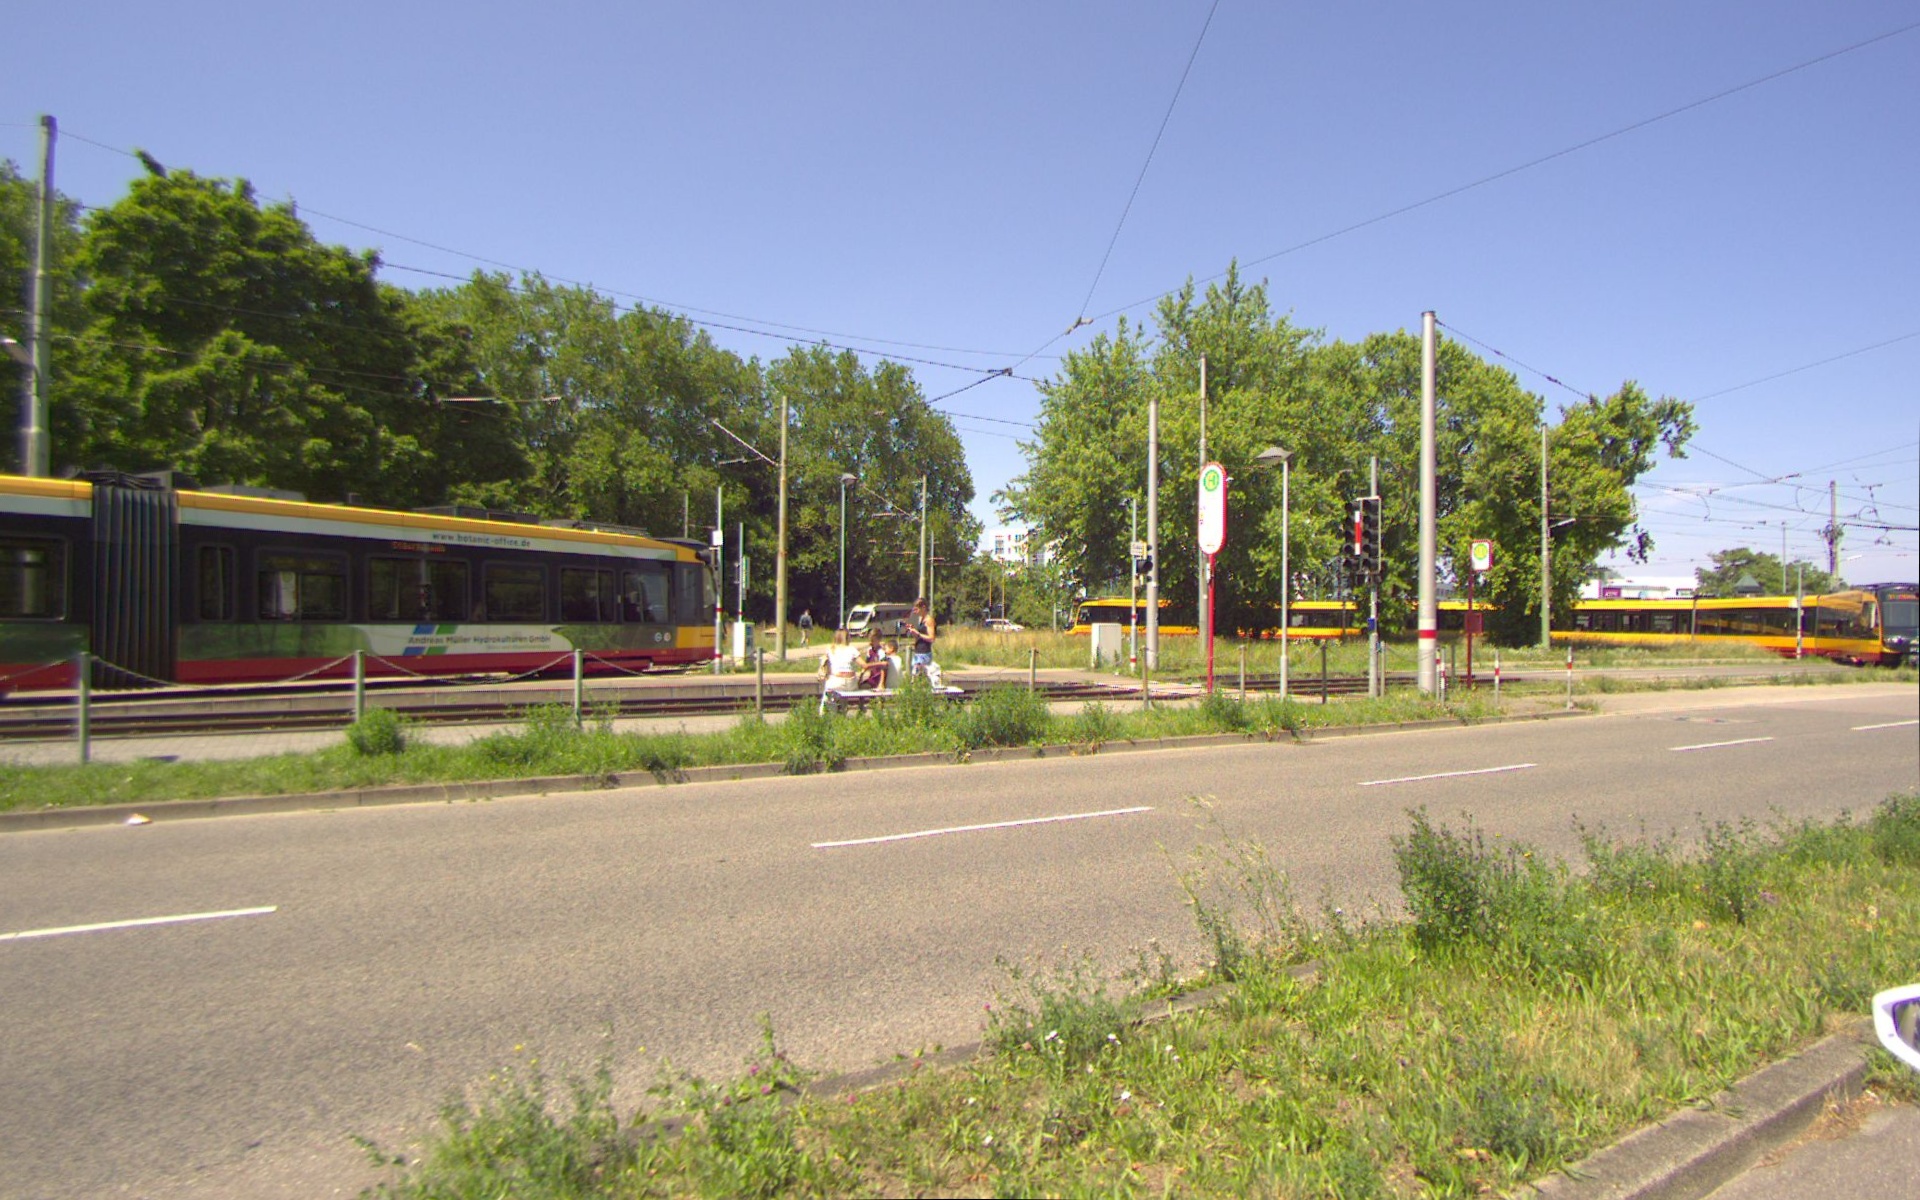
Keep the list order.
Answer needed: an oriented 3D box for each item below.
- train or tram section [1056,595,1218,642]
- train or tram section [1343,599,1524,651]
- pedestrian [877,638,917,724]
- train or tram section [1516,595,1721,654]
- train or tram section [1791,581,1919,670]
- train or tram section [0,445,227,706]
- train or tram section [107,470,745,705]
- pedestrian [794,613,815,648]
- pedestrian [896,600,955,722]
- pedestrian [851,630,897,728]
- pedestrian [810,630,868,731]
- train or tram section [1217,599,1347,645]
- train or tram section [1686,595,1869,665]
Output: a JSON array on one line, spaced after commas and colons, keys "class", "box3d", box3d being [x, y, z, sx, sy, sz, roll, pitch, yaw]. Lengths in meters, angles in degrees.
[{"class": "train or tram section", "box3d": [14.669, 1.531, 83.260, 13.034, 3.512, 3.039, 1, 0, -12]}, {"class": "train or tram section", "box3d": [36.943, 1.851, 78.717, 12.526, 3.512, 3.039, 2, 1, 31]}, {"class": "pedestrian", "box3d": [-0.821, 1.045, 13.096, 0.373, 1.072, 0.380, 1, 1, -32]}, {"class": "train or tram section", "box3d": [44.098, 1.508, 68.141, 2.996, 3.512, 12.706, 1, 0, -16]}, {"class": "train or tram section", "box3d": [41.220, 1.068, 45.526, 2.991, 3.512, 13.269, 2, 0, 29]}, {"class": "train or tram section", "box3d": [-17.014, -0.422, 12.525, 3.011, 3.673, 12.380, 2, 0, 43]}, {"class": "train or tram section", "box3d": [-10.169, -0.174, 21.817, 3.000, 3.673, 12.423, 2, 0, 31]}, {"class": "pedestrian", "box3d": [-7.274, 1.426, 47.011, 0.677, 1.595, 0.791, 1, 1, 13]}, {"class": "pedestrian", "box3d": [-0.465, 0.802, 13.468, 0.576, 1.586, 0.531, 1, 1, -32]}, {"class": "pedestrian", "box3d": [-1.106, 0.996, 12.860, 0.396, 1.205, 0.492, 1, 1, -30]}, {"class": "pedestrian", "box3d": [-1.520, 0.987, 12.579, 0.529, 1.205, 0.578, 1, 1, -26]}, {"class": "train or tram section", "box3d": [26.550, 1.763, 83.365, 10.016, 3.512, 3.048, 1, 0, 13]}, {"class": "train or tram section", "box3d": [45.594, 1.534, 56.616, 2.984, 3.512, 10.229, 1, 0, 7]}]
